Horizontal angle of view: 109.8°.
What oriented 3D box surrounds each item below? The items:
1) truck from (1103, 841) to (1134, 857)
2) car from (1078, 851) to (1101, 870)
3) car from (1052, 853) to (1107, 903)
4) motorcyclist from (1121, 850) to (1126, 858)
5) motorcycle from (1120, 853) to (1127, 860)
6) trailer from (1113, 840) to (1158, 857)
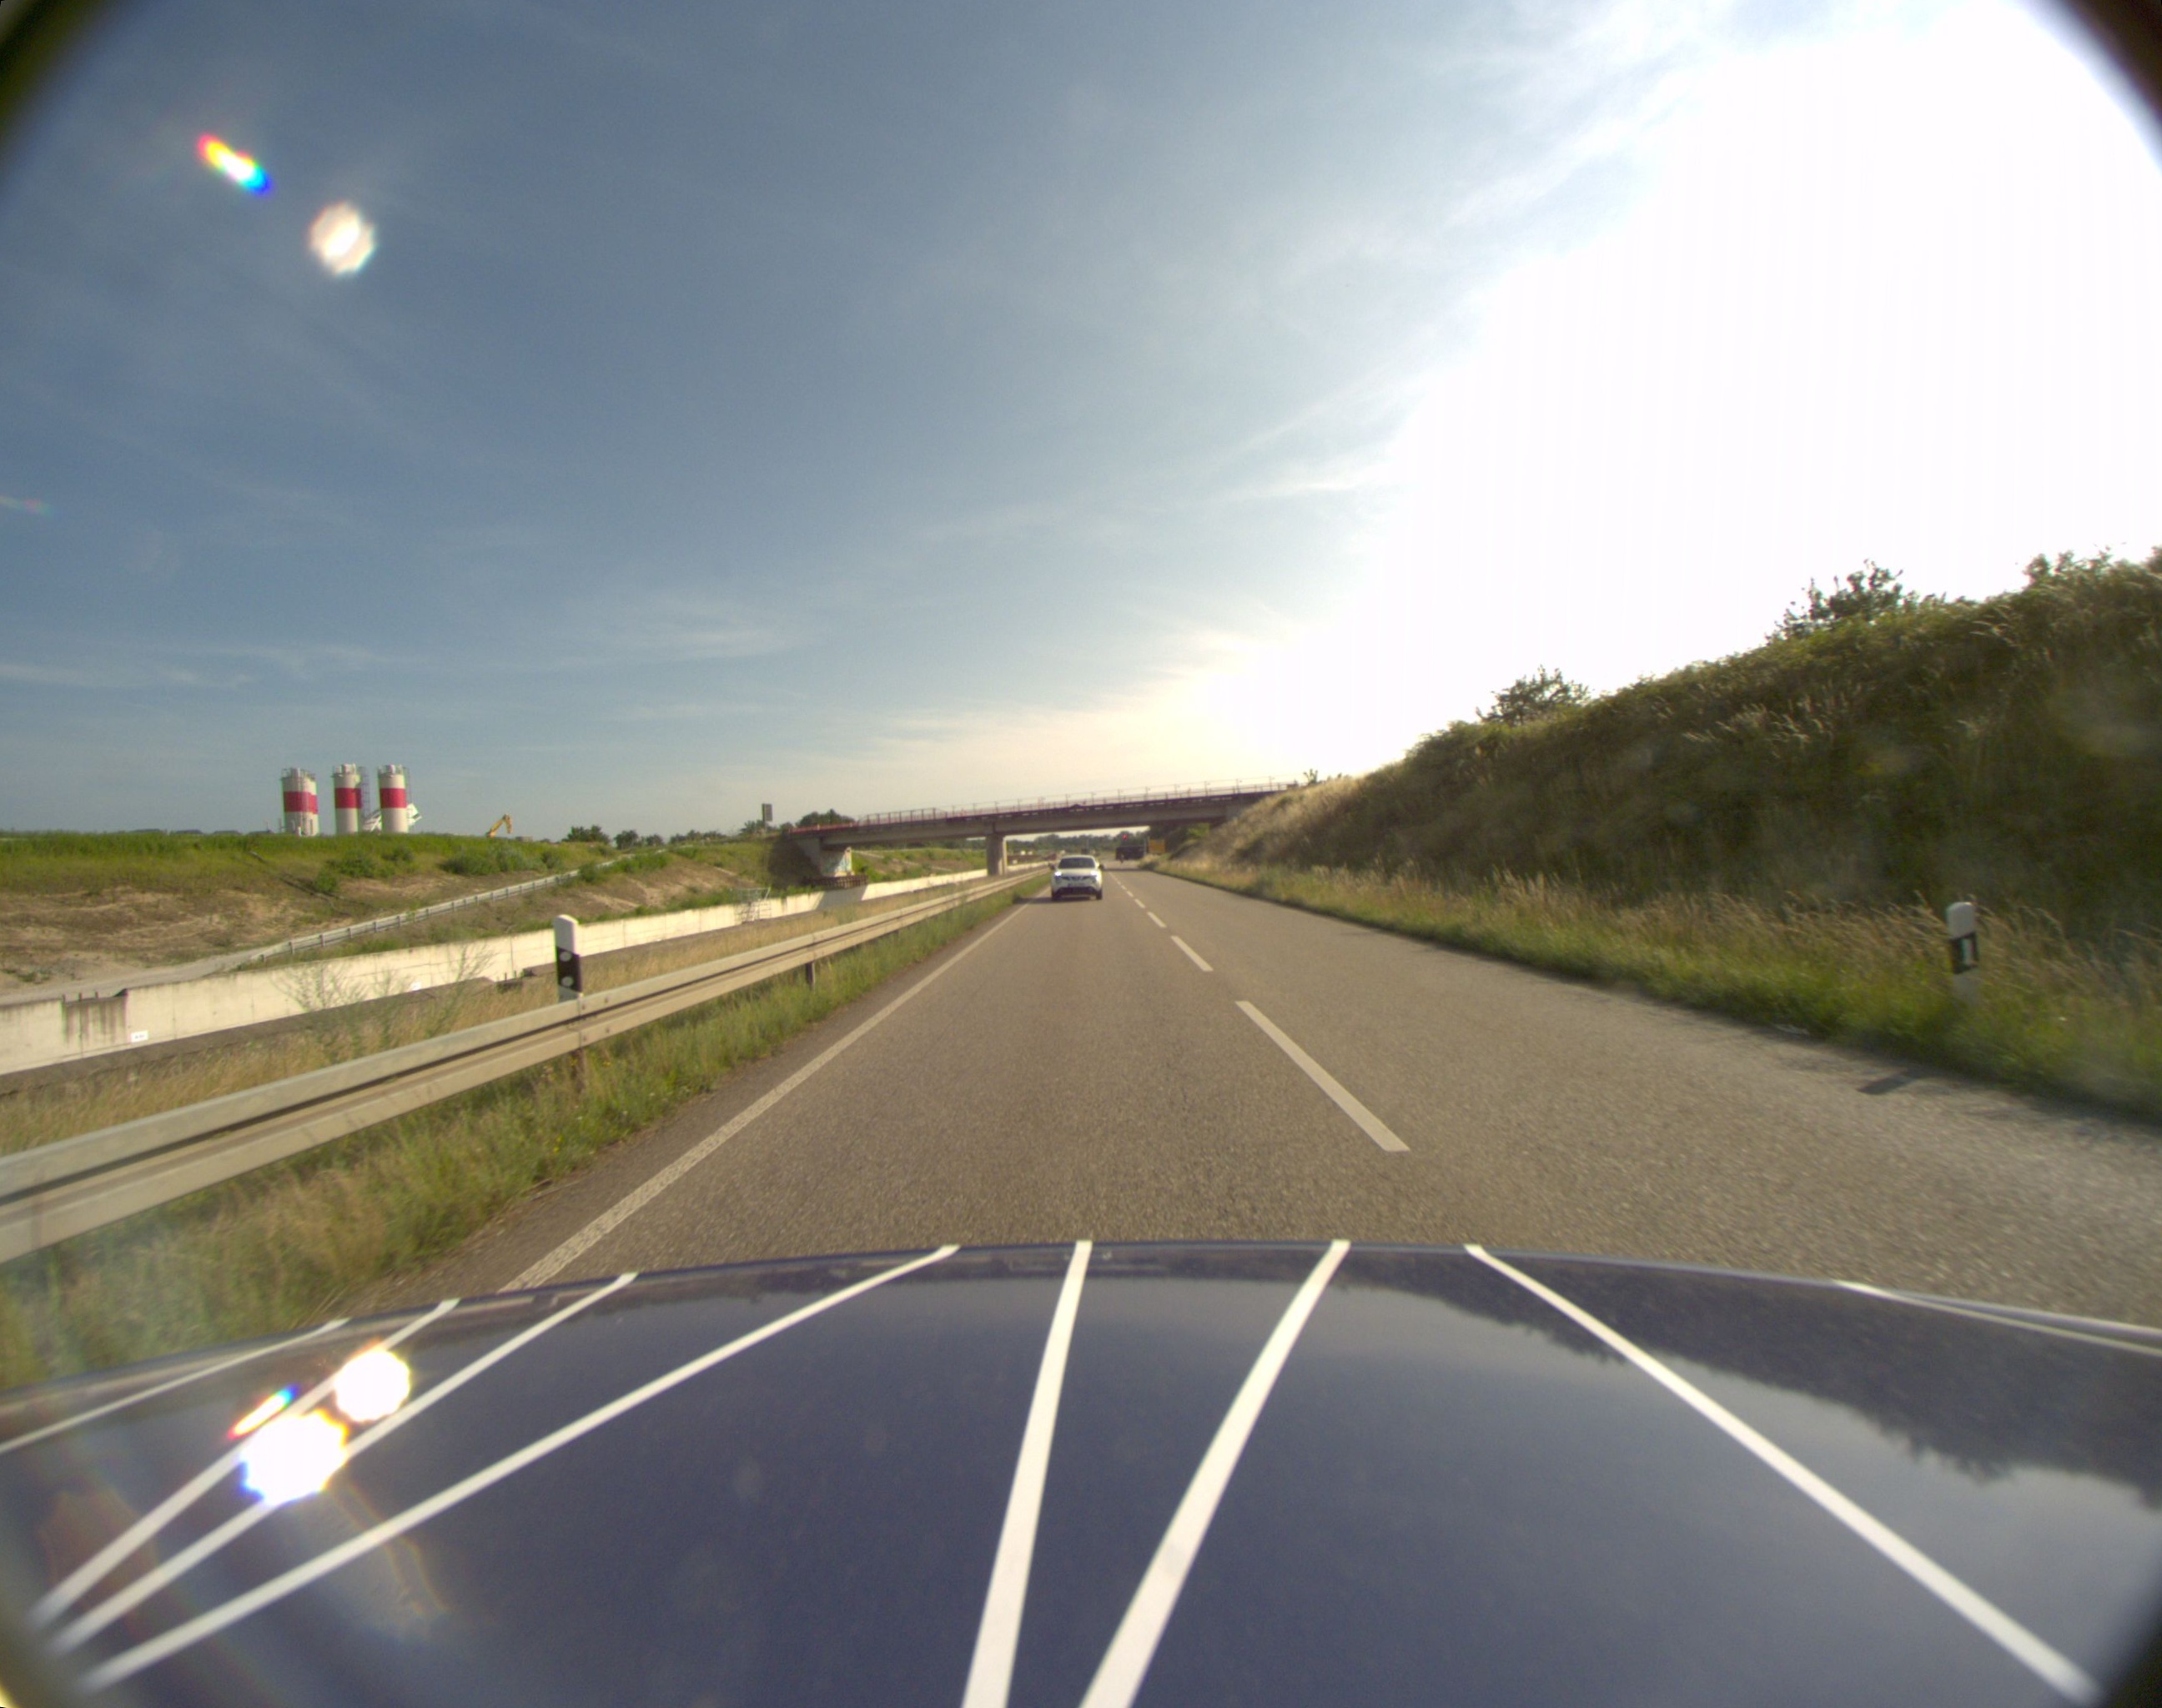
[{"bbox_3d":[10.786,-1.350,219.160,3.566,4.089,8.378,-3,1,-44],"label":"truck"},{"bbox_3d":[0.765,0.568,68.361,1.908,1.512,4.465,-2,0,1],"label":"car"},{"bbox_3d":[-0.122,0.802,27.792,1.789,1.593,4.571,-2,0,-2],"label":"car"},{"bbox_3d":[7.601,-0.065,135.822,0.881,1.443,1.284,-1,1,-1],"label":"motorcyclist"},{"bbox_3d":[7.628,0.463,135.814,1.044,1.111,2.132,-1,1,-1],"label":"motorcycle"},{"bbox_3d":[15.245,-1.550,214.339,3.566,4.089,13.762,-3,1,-44],"label":"trailer"}]
